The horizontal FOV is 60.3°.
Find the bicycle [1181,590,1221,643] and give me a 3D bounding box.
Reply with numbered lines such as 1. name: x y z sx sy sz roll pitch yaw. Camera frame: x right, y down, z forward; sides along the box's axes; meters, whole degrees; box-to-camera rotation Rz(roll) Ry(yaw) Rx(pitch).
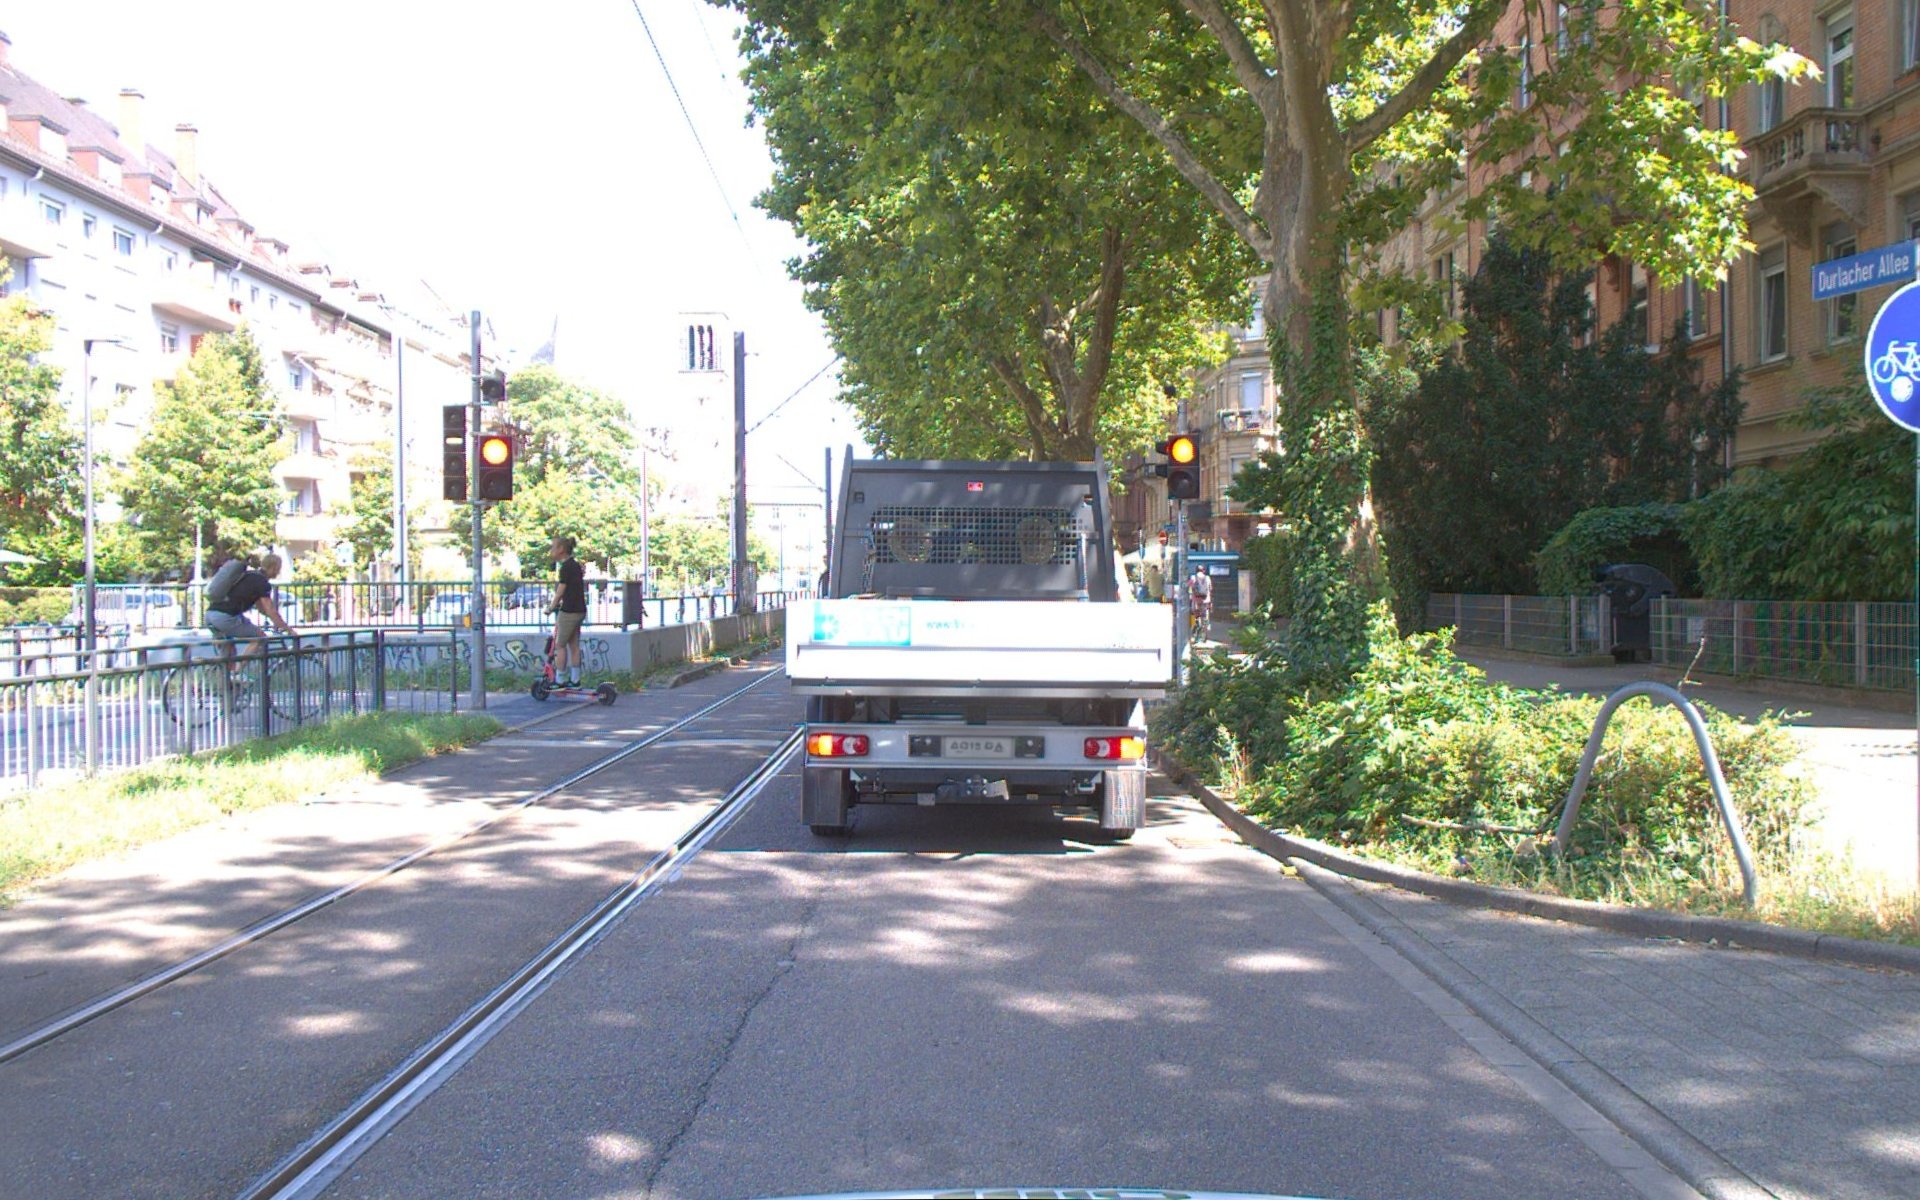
1. bicycle: 5.315 0.347 36.560 0.553 1.131 2.310 -1 1 0

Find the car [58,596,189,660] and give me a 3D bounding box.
1. car: -22.034 0.704 43.728 1.737 1.524 3.994 -2 1 -7

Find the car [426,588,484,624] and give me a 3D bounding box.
1. car: -22.542 0.243 73.939 1.737 1.524 3.994 -1 1 -7

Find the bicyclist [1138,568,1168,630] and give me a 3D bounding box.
1. bicyclist: 5.027 -0.023 43.117 0.666 1.591 0.777 -1 0 0

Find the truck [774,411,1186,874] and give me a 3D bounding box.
1. truck: 0.105 0.199 10.793 2.094 2.359 4.401 1 1 0

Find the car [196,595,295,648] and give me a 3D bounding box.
1. car: -22.455 0.639 52.127 1.737 1.524 3.994 -2 1 -7

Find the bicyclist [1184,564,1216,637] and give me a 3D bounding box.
1. bicyclist: 5.306 0.005 36.613 0.625 1.601 0.579 -1 0 0

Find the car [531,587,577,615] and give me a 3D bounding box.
1. car: -23.316 0.052 95.128 1.735 1.524 3.998 -1 1 -2

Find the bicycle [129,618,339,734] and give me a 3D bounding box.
1. bicycle: -7.310 0.738 16.735 0.522 1.067 1.917 0 1 39

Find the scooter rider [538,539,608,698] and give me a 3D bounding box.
1. scooter rider: -4.701 0.217 20.116 0.653 1.899 0.664 -1 0 2

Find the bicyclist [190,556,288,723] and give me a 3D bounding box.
1. bicyclist: -7.299 0.384 16.747 0.613 1.651 0.691 0 0 39

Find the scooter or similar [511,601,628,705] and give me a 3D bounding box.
1. scooter or similar: -4.742 0.631 20.121 1.240 1.225 0.657 -1 0 2

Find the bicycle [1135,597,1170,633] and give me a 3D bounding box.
1. bicycle: 5.031 0.382 43.281 0.661 0.897 2.163 -1 1 0

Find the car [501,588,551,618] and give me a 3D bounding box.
1. car: -22.882 0.122 87.302 1.735 1.524 3.998 -1 1 -2
